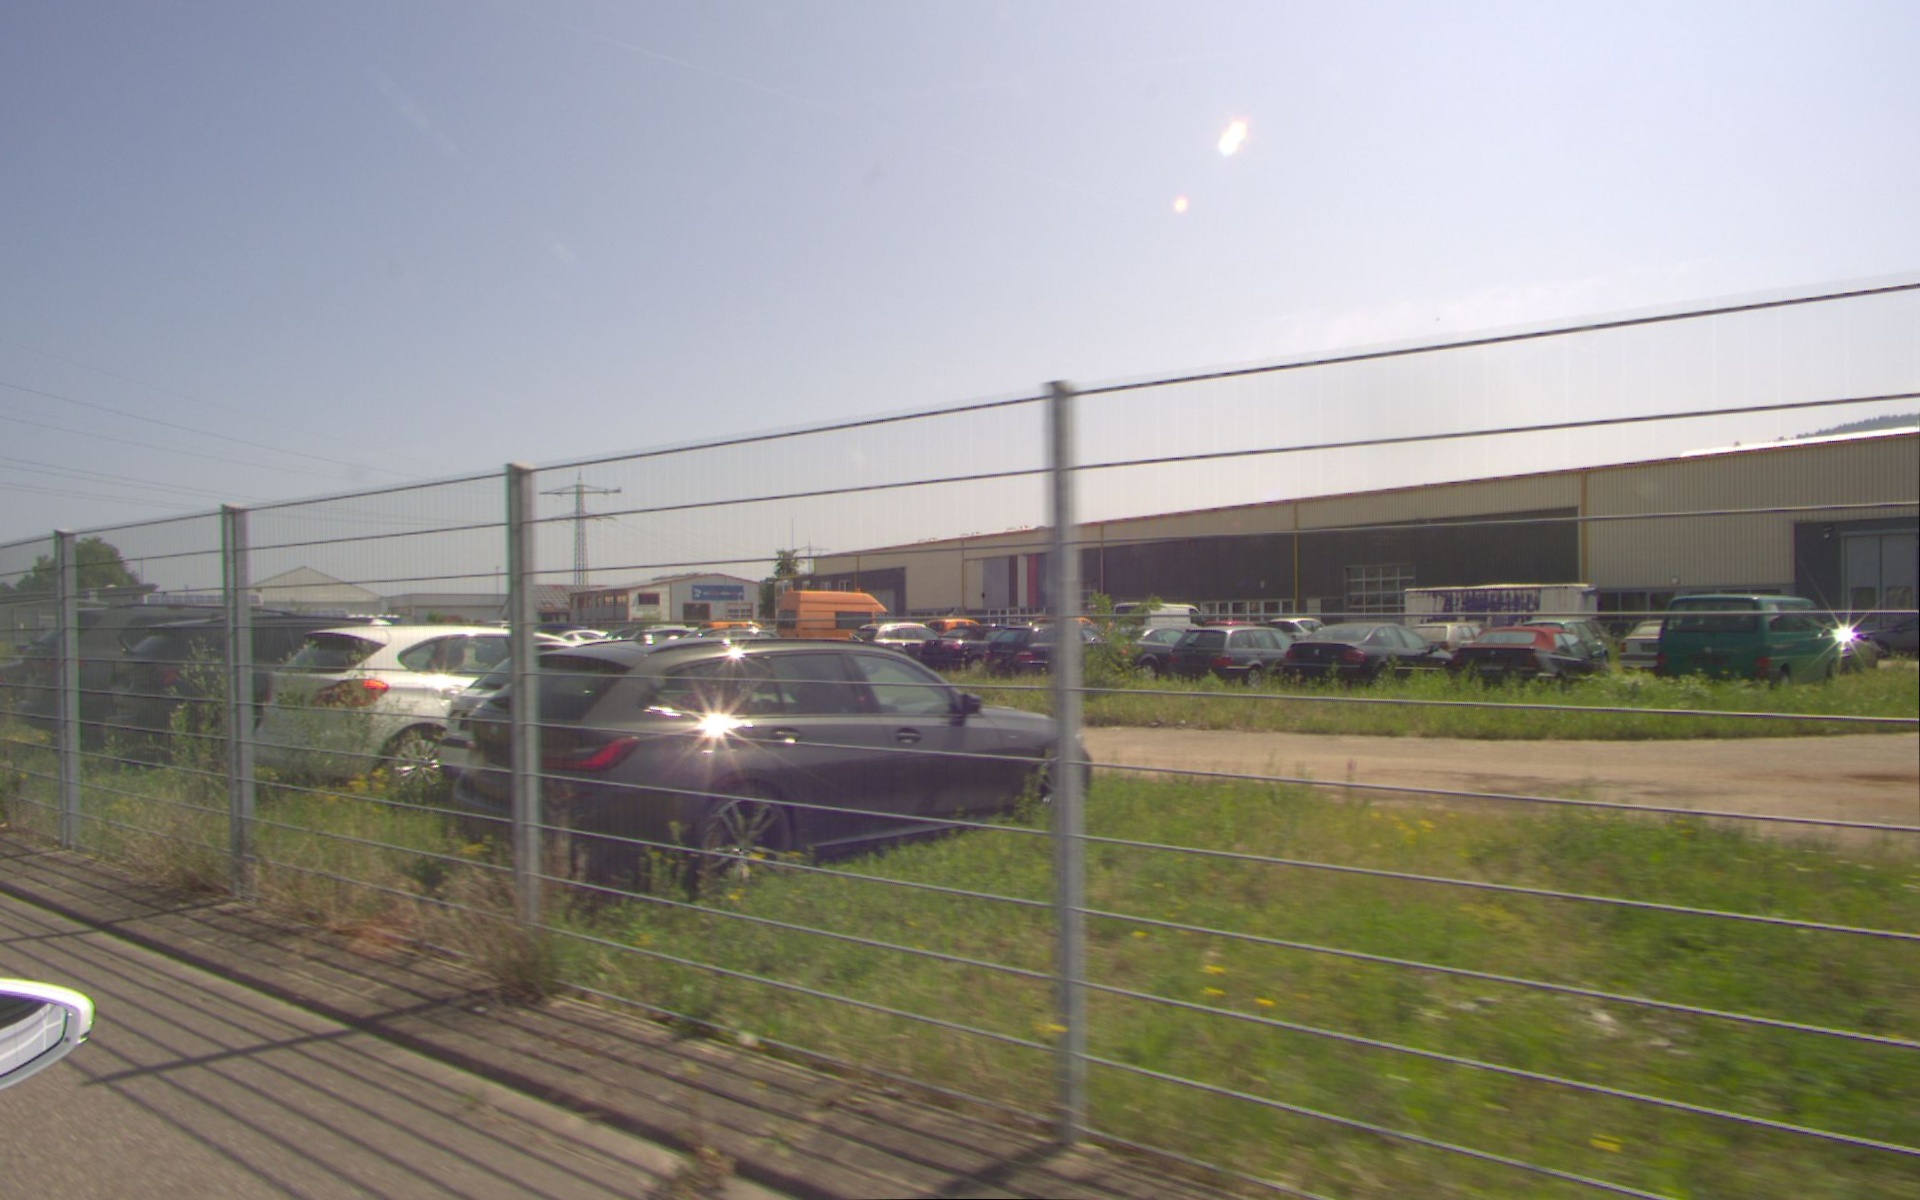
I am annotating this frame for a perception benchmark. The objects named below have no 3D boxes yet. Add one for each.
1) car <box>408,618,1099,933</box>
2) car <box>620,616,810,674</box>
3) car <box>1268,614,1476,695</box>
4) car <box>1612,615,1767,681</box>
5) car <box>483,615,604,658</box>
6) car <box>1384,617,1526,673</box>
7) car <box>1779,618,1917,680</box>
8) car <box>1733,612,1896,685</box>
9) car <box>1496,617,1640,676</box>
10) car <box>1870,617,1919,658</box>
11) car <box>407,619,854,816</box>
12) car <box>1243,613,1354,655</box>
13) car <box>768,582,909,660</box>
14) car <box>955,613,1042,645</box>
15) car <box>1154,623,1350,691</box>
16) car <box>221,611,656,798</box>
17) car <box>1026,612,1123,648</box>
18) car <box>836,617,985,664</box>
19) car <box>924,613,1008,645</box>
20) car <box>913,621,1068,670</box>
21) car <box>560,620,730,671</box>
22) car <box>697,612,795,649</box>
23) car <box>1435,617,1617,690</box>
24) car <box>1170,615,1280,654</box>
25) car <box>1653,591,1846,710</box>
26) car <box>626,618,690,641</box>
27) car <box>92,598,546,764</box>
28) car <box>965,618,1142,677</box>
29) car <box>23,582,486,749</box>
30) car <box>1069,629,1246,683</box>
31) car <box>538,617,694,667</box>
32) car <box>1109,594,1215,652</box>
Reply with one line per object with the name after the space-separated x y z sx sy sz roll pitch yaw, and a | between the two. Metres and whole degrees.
-1.023 0.826 6.676 1.700 1.335 4.351 0 0 43 | car
-6.574 1.162 27.121 4.701 1.370 1.808 0 0 -37 | car
8.130 0.978 19.618 4.336 1.363 1.828 0 0 -37 | car
17.531 1.084 24.011 4.336 1.396 1.828 0 0 -37 | car
-17.426 1.487 41.933 4.414 1.671 1.867 0 0 -33 | car
13.928 1.211 28.086 4.336 1.396 1.828 0 0 -37 | car
22.889 1.207 25.768 4.336 1.396 1.828 0 0 -37 | car
18.726 0.994 21.897 4.336 1.396 1.828 0 0 -37 | car
16.357 1.179 26.868 4.336 1.396 1.828 0 0 -37 | car
34.709 1.325 35.495 1.823 1.396 3.487 -1 0 -43 | car
-2.782 0.873 8.941 1.623 1.335 3.446 0 0 43 | car
12.647 1.225 37.315 4.339 1.404 1.957 0 0 -39 | car
-4.318 0.698 35.910 4.688 2.619 1.966 0 0 -37 | car
1.969 1.426 50.170 4.339 1.505 1.738 0 0 -39 | car
6.320 1.149 21.507 4.336 1.222 1.828 0 0 -37 | car
-4.861 0.844 9.724 1.497 1.436 3.453 0 0 37 | car
5.280 1.337 45.981 4.339 1.505 1.957 0 0 -39 | car
-1.478 1.198 30.743 4.336 1.286 1.808 0 0 -37 | car
0.340 1.486 52.238 4.339 1.505 1.738 0 0 -39 | car
0.910 1.234 28.160 4.336 1.199 1.565 0 0 -37 | car
-9.643 1.345 30.836 4.701 1.370 1.808 0 0 -37 | car
-9.131 1.281 42.846 3.782 1.481 1.577 0 0 -37 | car
10.137 0.900 17.877 3.334 1.123 1.659 0 0 -37 | car
10.256 1.279 38.559 4.339 1.340 1.957 0 0 -39 | car
14.983 0.856 18.933 4.336 2.008 1.828 0 0 -37 | car
-26.332 2.543 87.321 5.013 1.924 1.845 1 -1 -36 | car
-7.404 0.795 12.002 1.670 1.624 4.280 0 0 36 | car
2.398 1.134 25.210 4.336 1.292 1.865 0 0 -37 | car
-8.919 0.702 13.077 1.721 1.792 4.665 0 0 39 | car
4.707 1.273 23.553 4.336 1.046 1.607 0 0 -37 | car
-11.160 1.334 32.634 4.520 1.451 1.650 0 0 -37 | car
8.261 0.887 40.800 4.339 2.200 1.957 0 0 -39 | car
